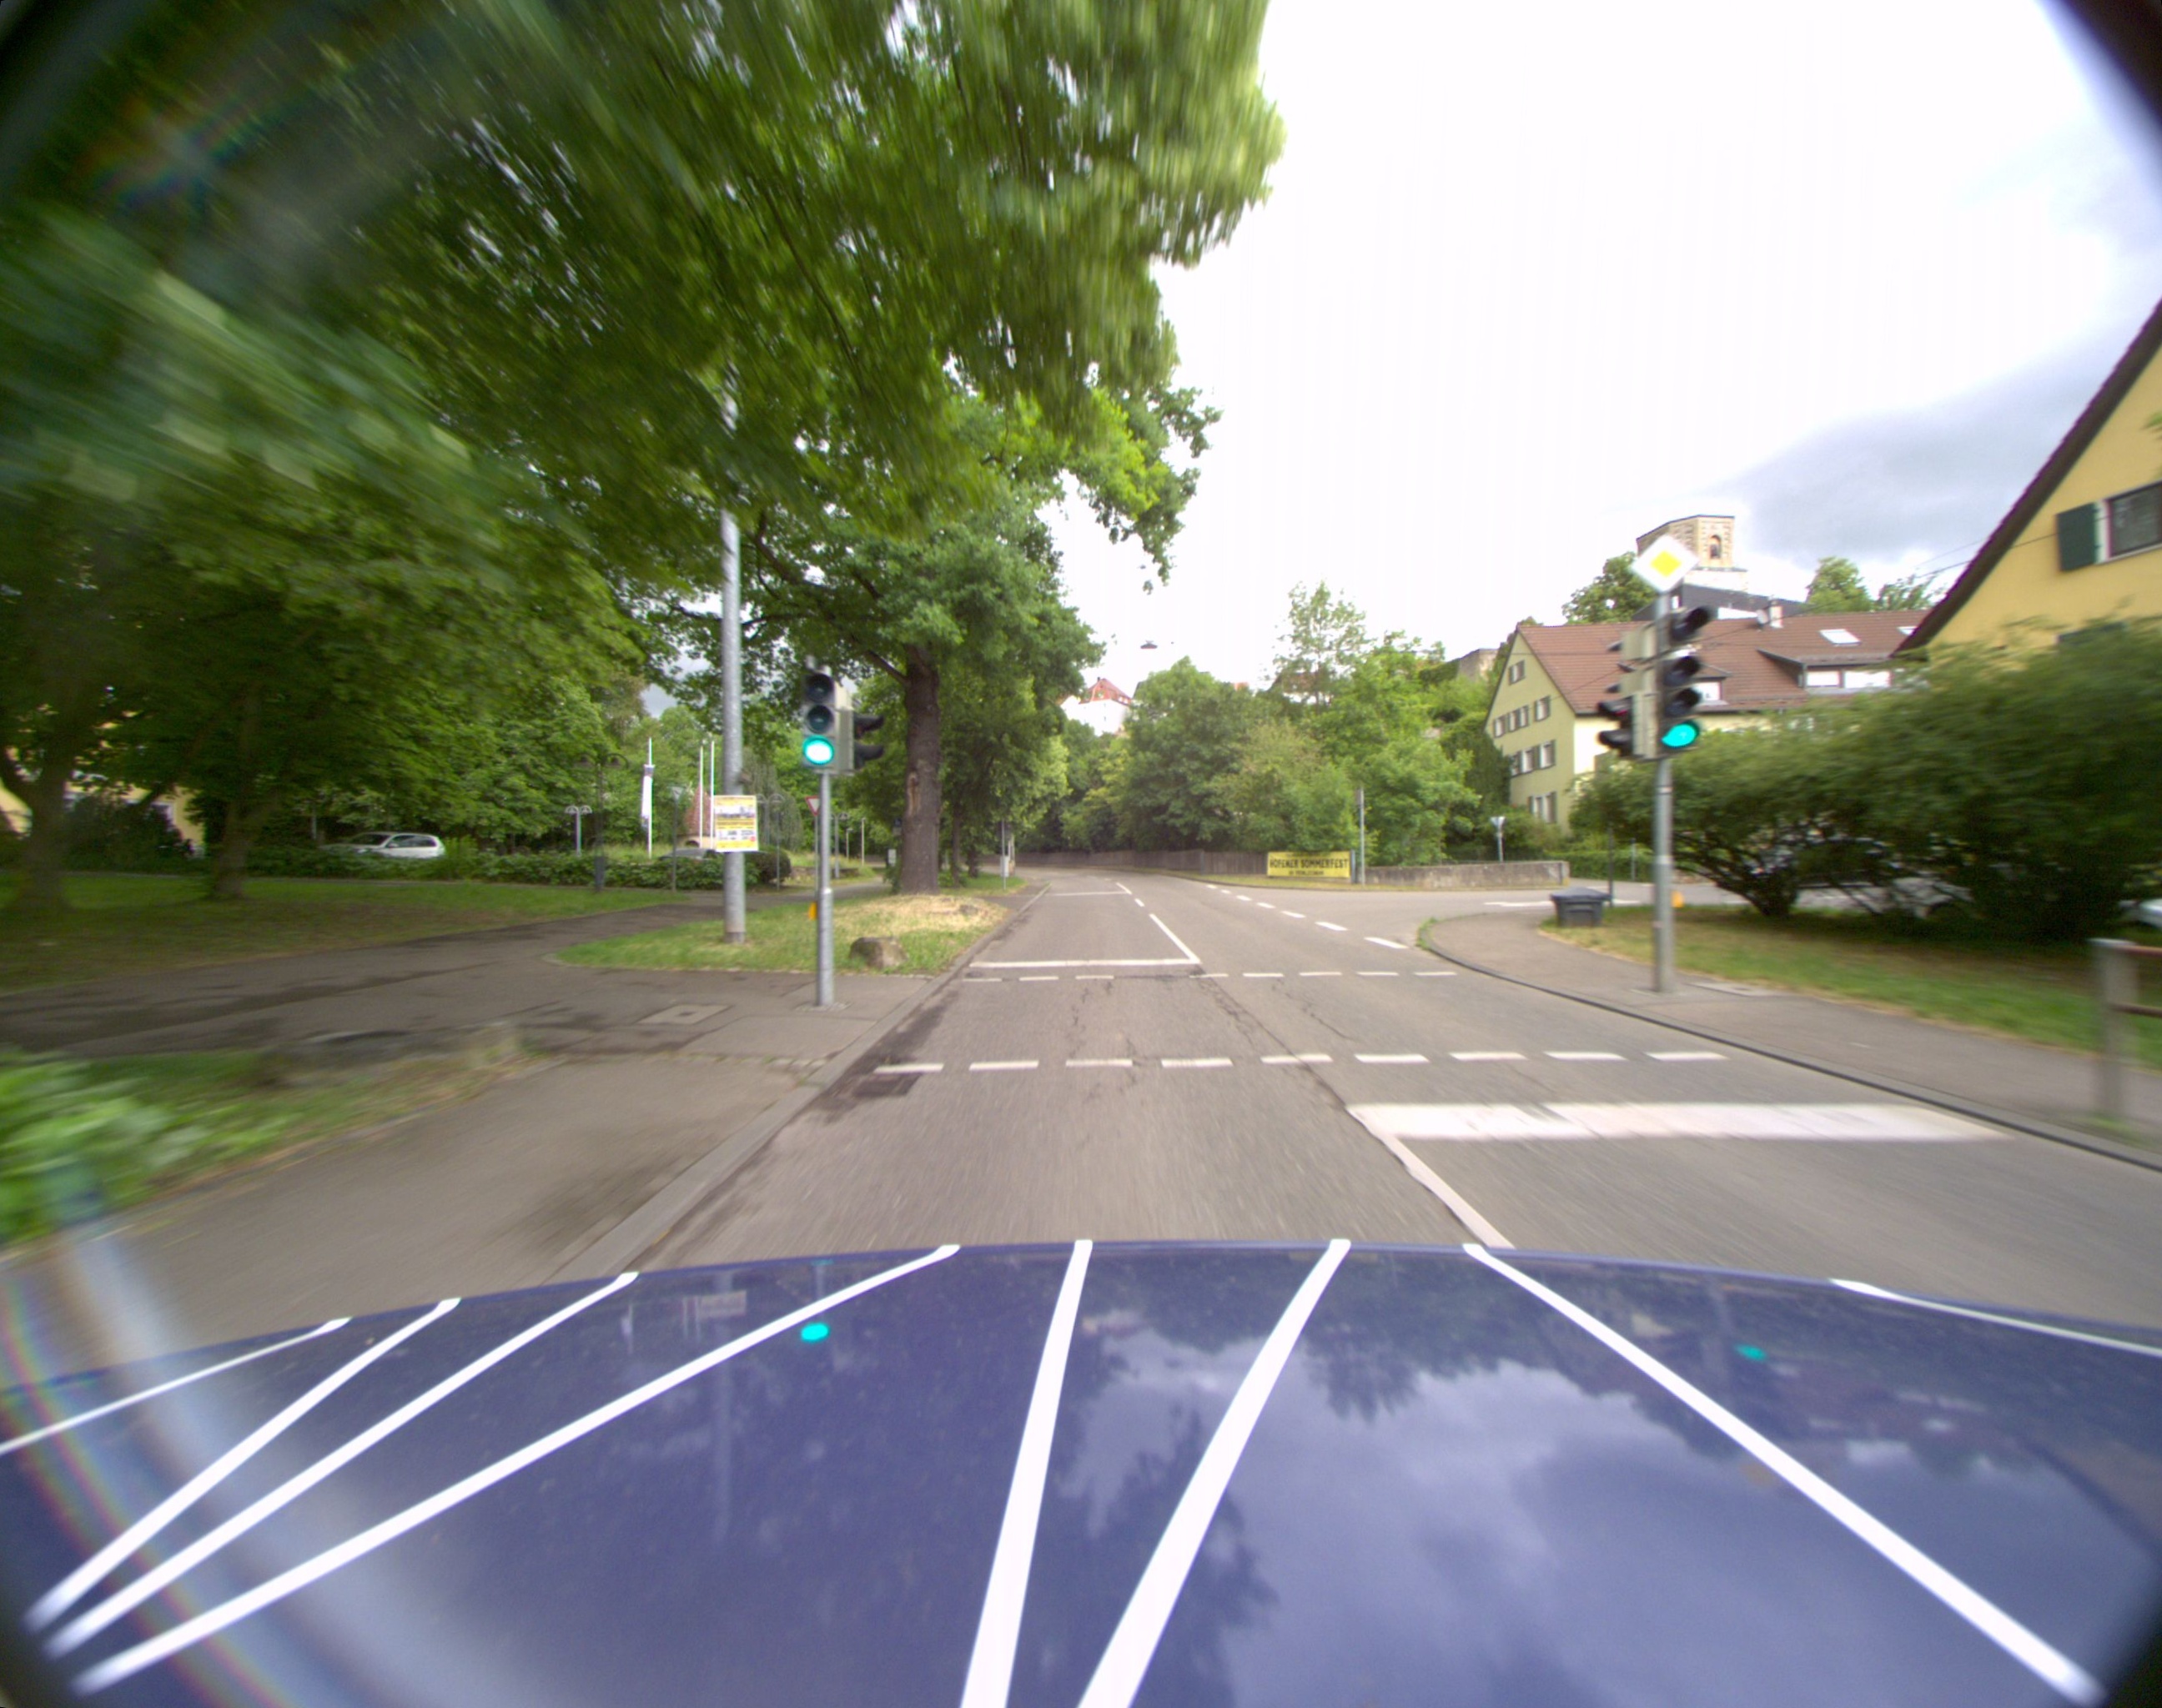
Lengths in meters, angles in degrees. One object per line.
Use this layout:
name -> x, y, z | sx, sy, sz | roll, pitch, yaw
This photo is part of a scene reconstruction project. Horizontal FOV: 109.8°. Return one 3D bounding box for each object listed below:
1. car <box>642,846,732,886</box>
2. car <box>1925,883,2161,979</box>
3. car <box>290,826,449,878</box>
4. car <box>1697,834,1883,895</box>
car -> -15.157, 0.517, 29.500 | 1.913, 1.422, 4.463 | 2, -2, -11
car -> 17.287, 1.253, 12.747 | 1.649, 1.337, 4.152 | 1, 0, 0
car -> -26.006, -0.004, 28.002 | 1.999, 1.640, 4.001 | 3, -2, 0
car -> 22.475, 0.323, 24.211 | 3.997, 1.586, 1.946 | -4, 0, 1
